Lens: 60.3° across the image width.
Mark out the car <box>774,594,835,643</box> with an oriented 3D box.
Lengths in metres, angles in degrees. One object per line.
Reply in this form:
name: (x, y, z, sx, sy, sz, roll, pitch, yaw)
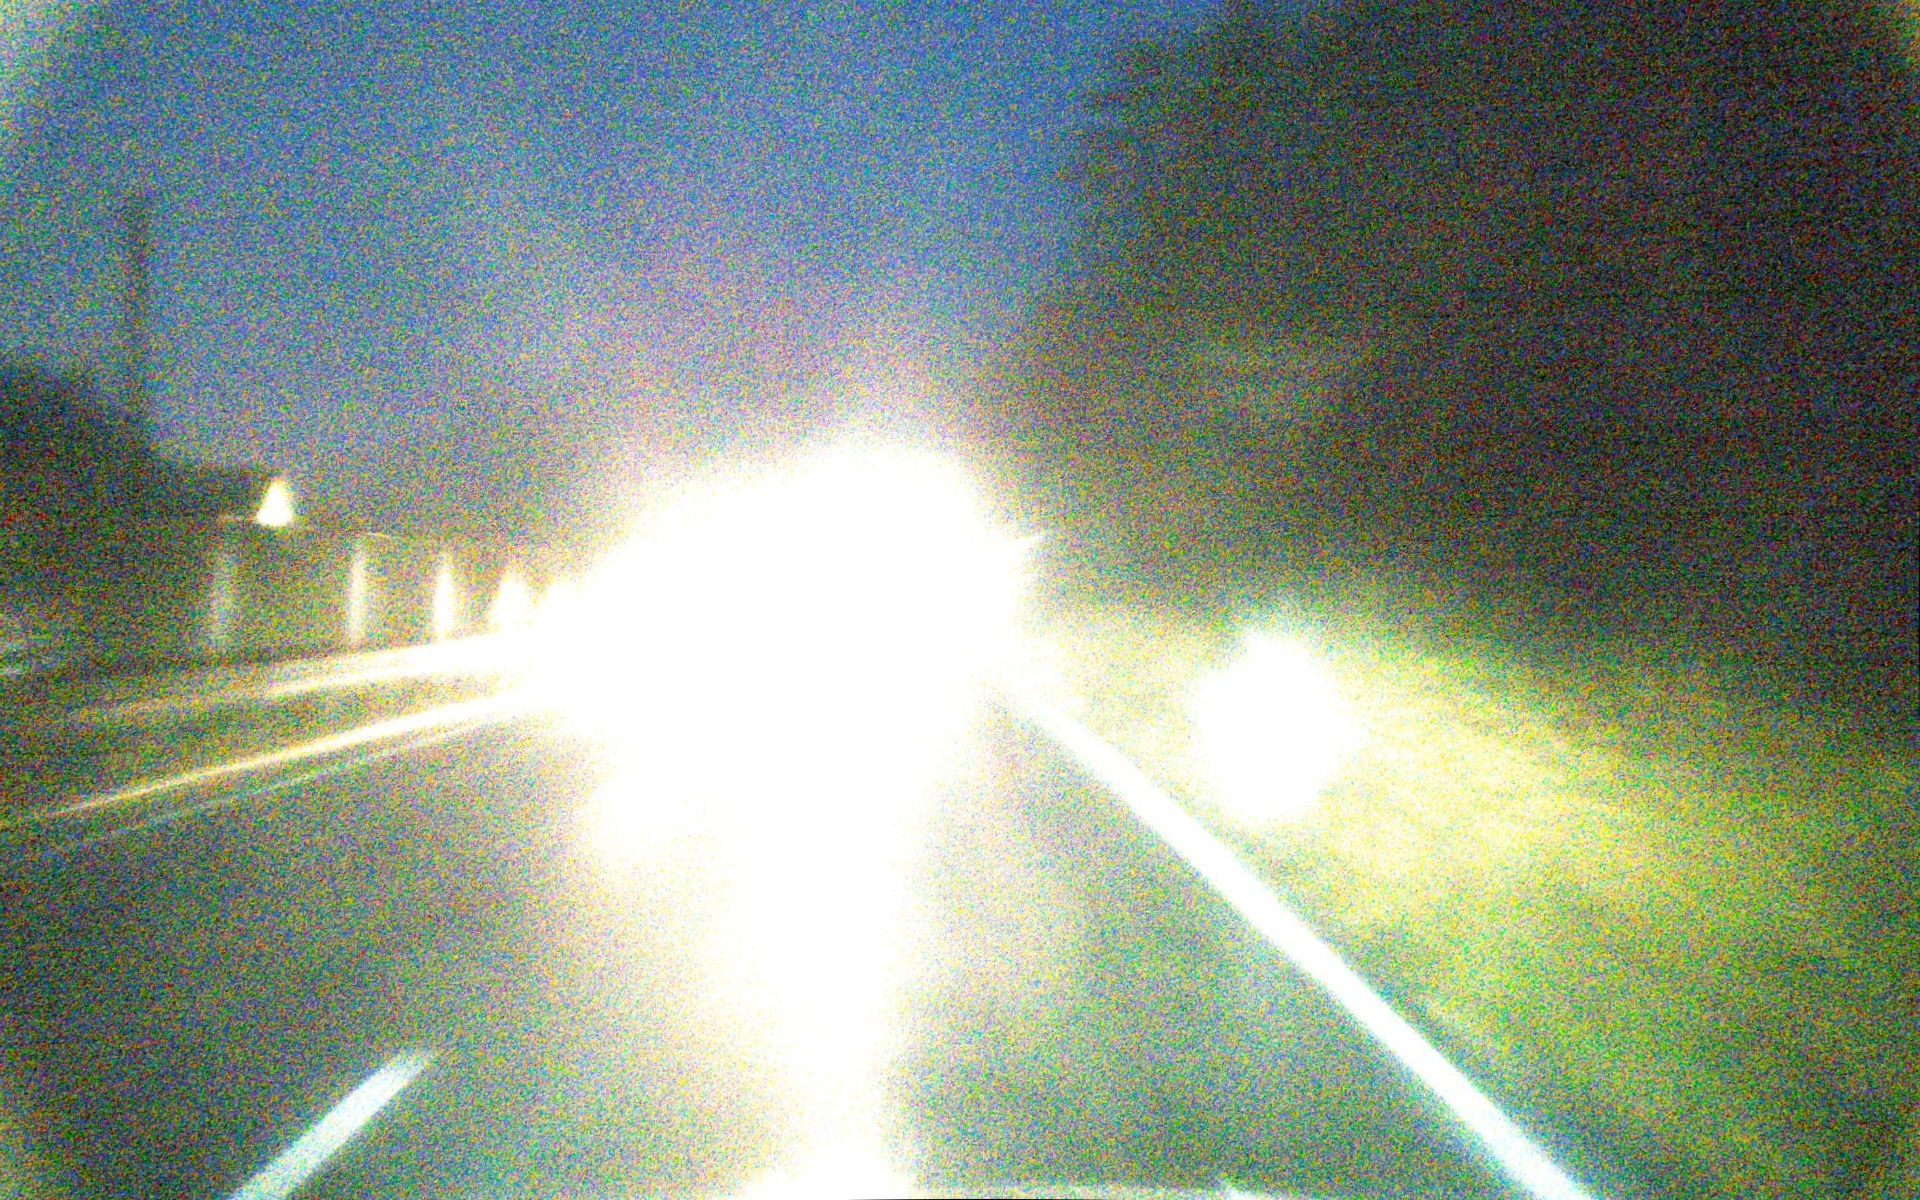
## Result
car: (-5.515, 0.623, 58.951, 1.887, 1.602, 4.346, 1, 1, -2)
